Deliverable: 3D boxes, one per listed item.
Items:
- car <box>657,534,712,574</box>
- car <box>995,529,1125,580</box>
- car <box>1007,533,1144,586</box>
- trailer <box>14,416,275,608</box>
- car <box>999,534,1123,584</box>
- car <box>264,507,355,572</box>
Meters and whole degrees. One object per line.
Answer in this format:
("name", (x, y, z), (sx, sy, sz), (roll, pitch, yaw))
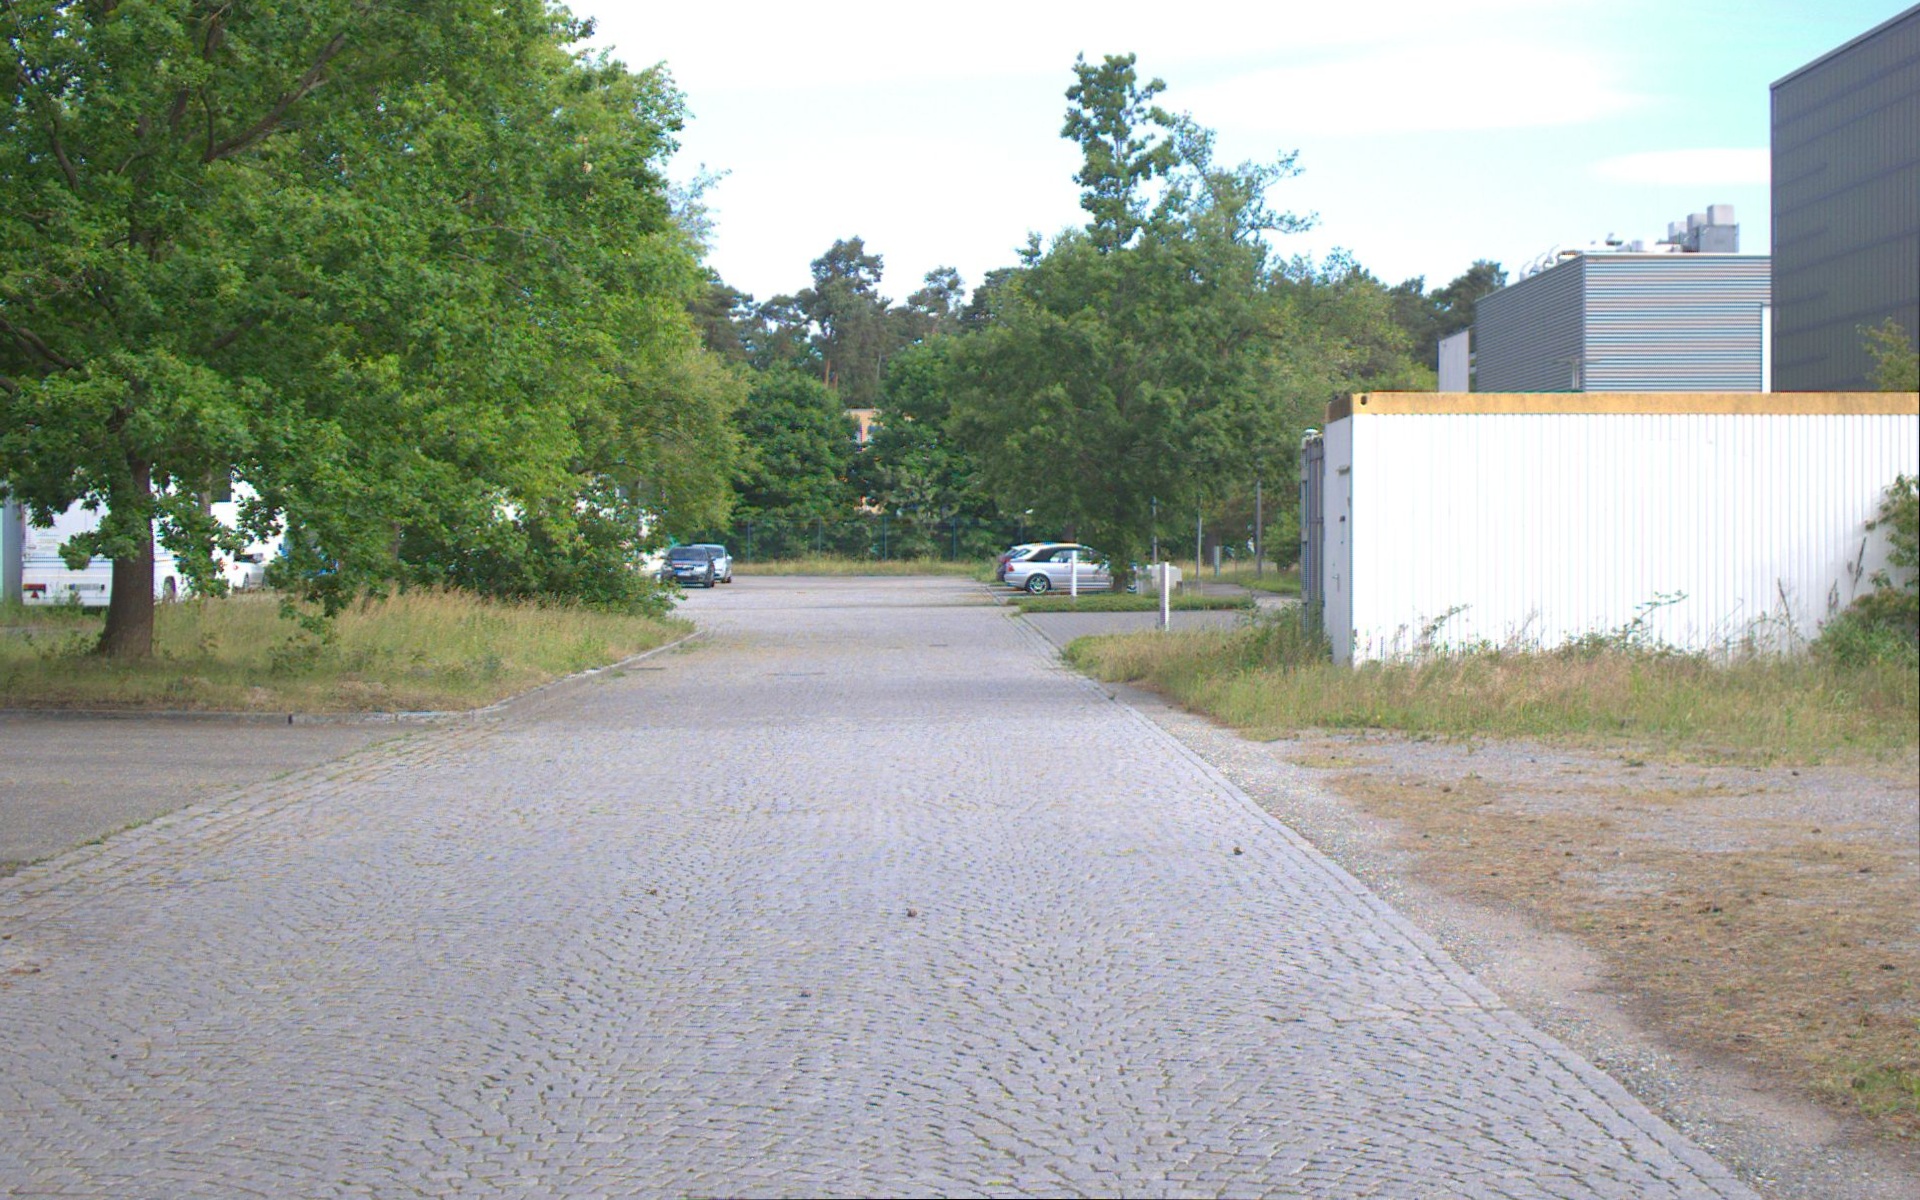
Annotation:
("car", (-9.741, -1.642, 121.675), (1.648, 1.364, 3.998), (0, 1, -1))
("car", (3.132, -1.435, 107.988), (3.984, 1.470, 1.653), (-2, 1, 0))
("car", (3.438, -1.217, 102.859), (3.984, 1.443, 1.653), (-2, 1, 0))
("trailer", (-16.386, -1.753, 69.885), (2.625, 3.585, 10.177), (1, 1, 2))
("car", (2.926, -1.198, 100.163), (3.522, 1.357, 1.622), (-2, 1, 0))
("car", (-20.709, -1.938, 109.600), (1.993, 2.007, 4.767), (1, 1, 0))
